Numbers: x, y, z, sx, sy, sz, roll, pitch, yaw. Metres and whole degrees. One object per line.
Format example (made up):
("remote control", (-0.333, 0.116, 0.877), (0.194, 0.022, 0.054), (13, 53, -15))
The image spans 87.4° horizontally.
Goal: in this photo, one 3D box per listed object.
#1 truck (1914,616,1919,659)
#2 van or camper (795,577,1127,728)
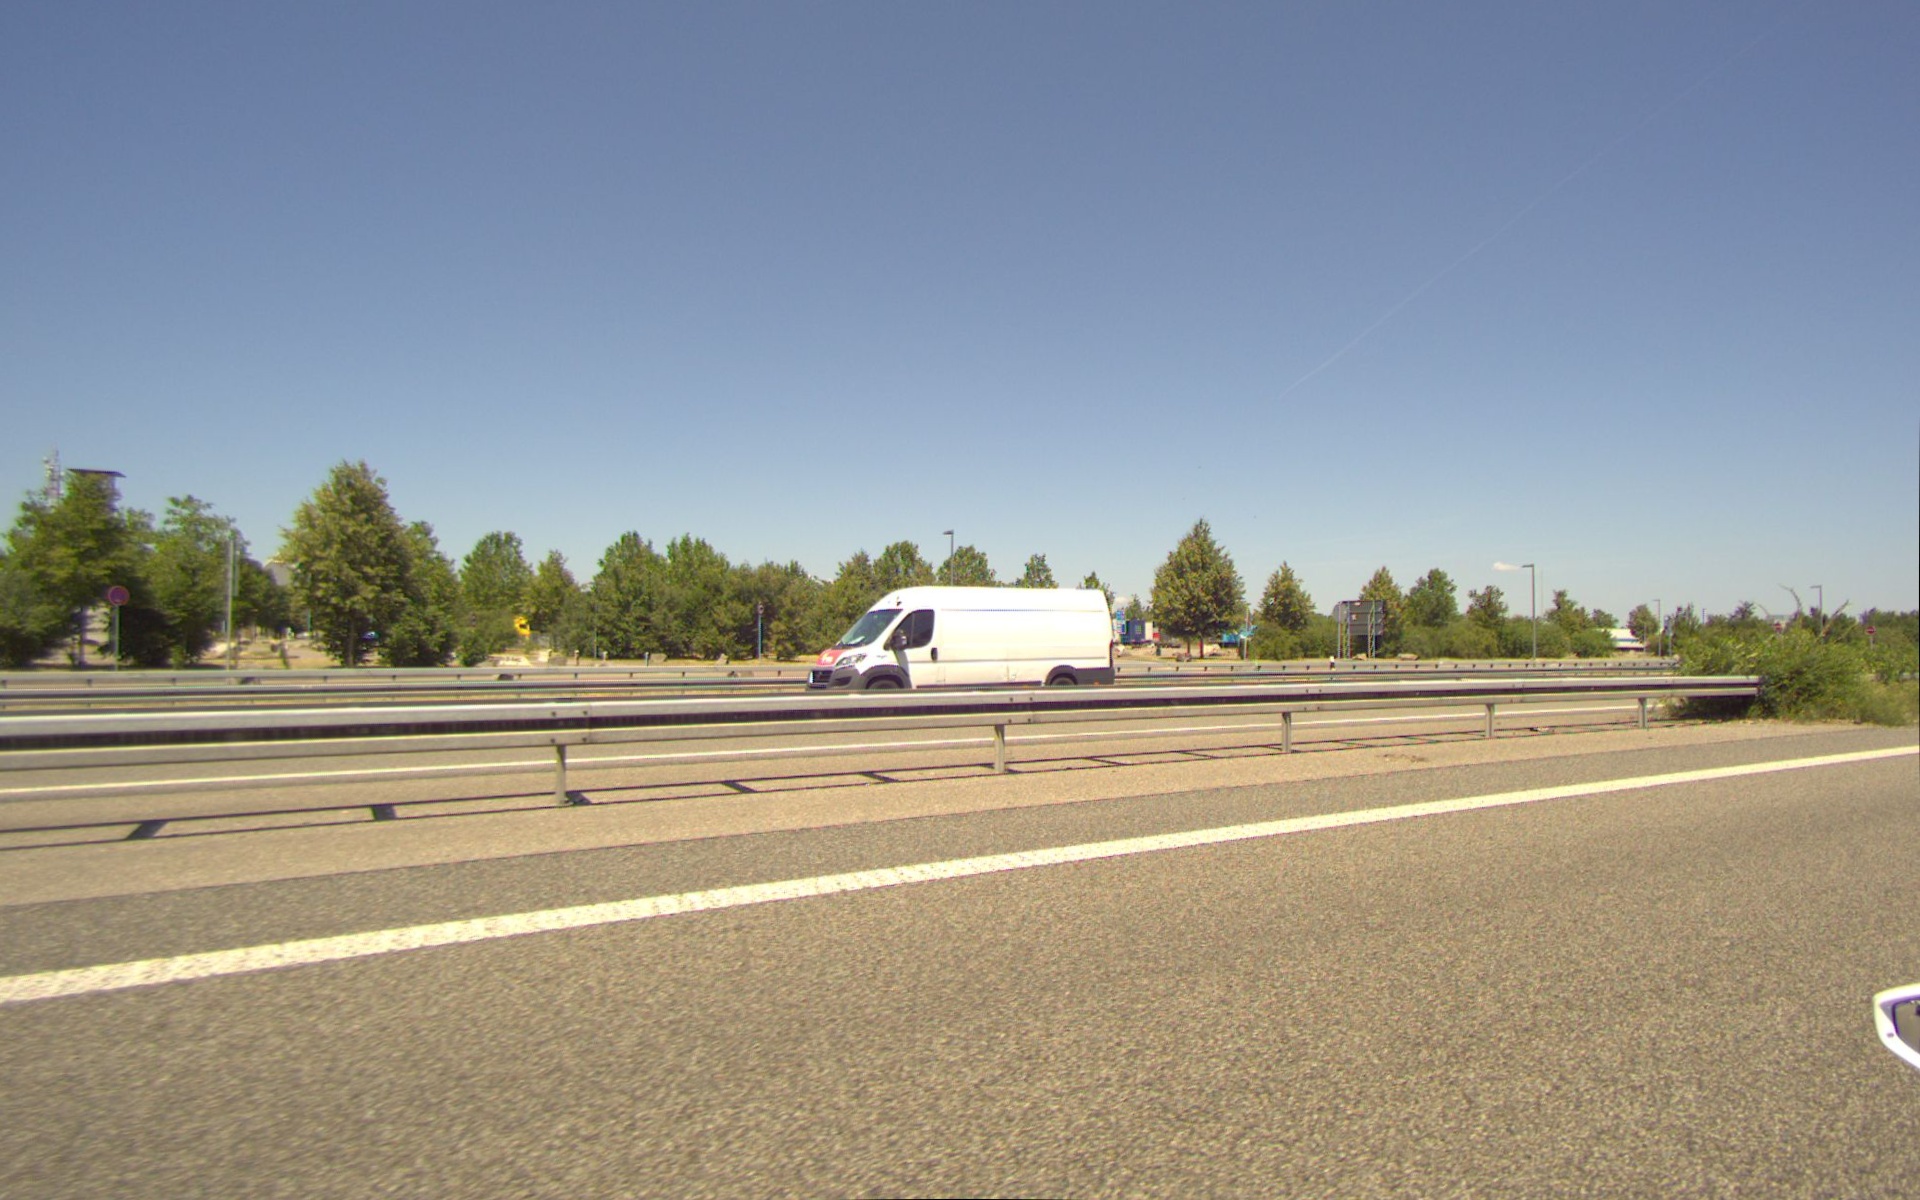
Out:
("truck", (84.553, 3.278, 85.837), (6.074, 3.692, 2.786), (2, 0, -30))
("van or camper", (0.116, 1.016, 20.140), (6.292, 2.616, 2.407), (2, -1, -30))
